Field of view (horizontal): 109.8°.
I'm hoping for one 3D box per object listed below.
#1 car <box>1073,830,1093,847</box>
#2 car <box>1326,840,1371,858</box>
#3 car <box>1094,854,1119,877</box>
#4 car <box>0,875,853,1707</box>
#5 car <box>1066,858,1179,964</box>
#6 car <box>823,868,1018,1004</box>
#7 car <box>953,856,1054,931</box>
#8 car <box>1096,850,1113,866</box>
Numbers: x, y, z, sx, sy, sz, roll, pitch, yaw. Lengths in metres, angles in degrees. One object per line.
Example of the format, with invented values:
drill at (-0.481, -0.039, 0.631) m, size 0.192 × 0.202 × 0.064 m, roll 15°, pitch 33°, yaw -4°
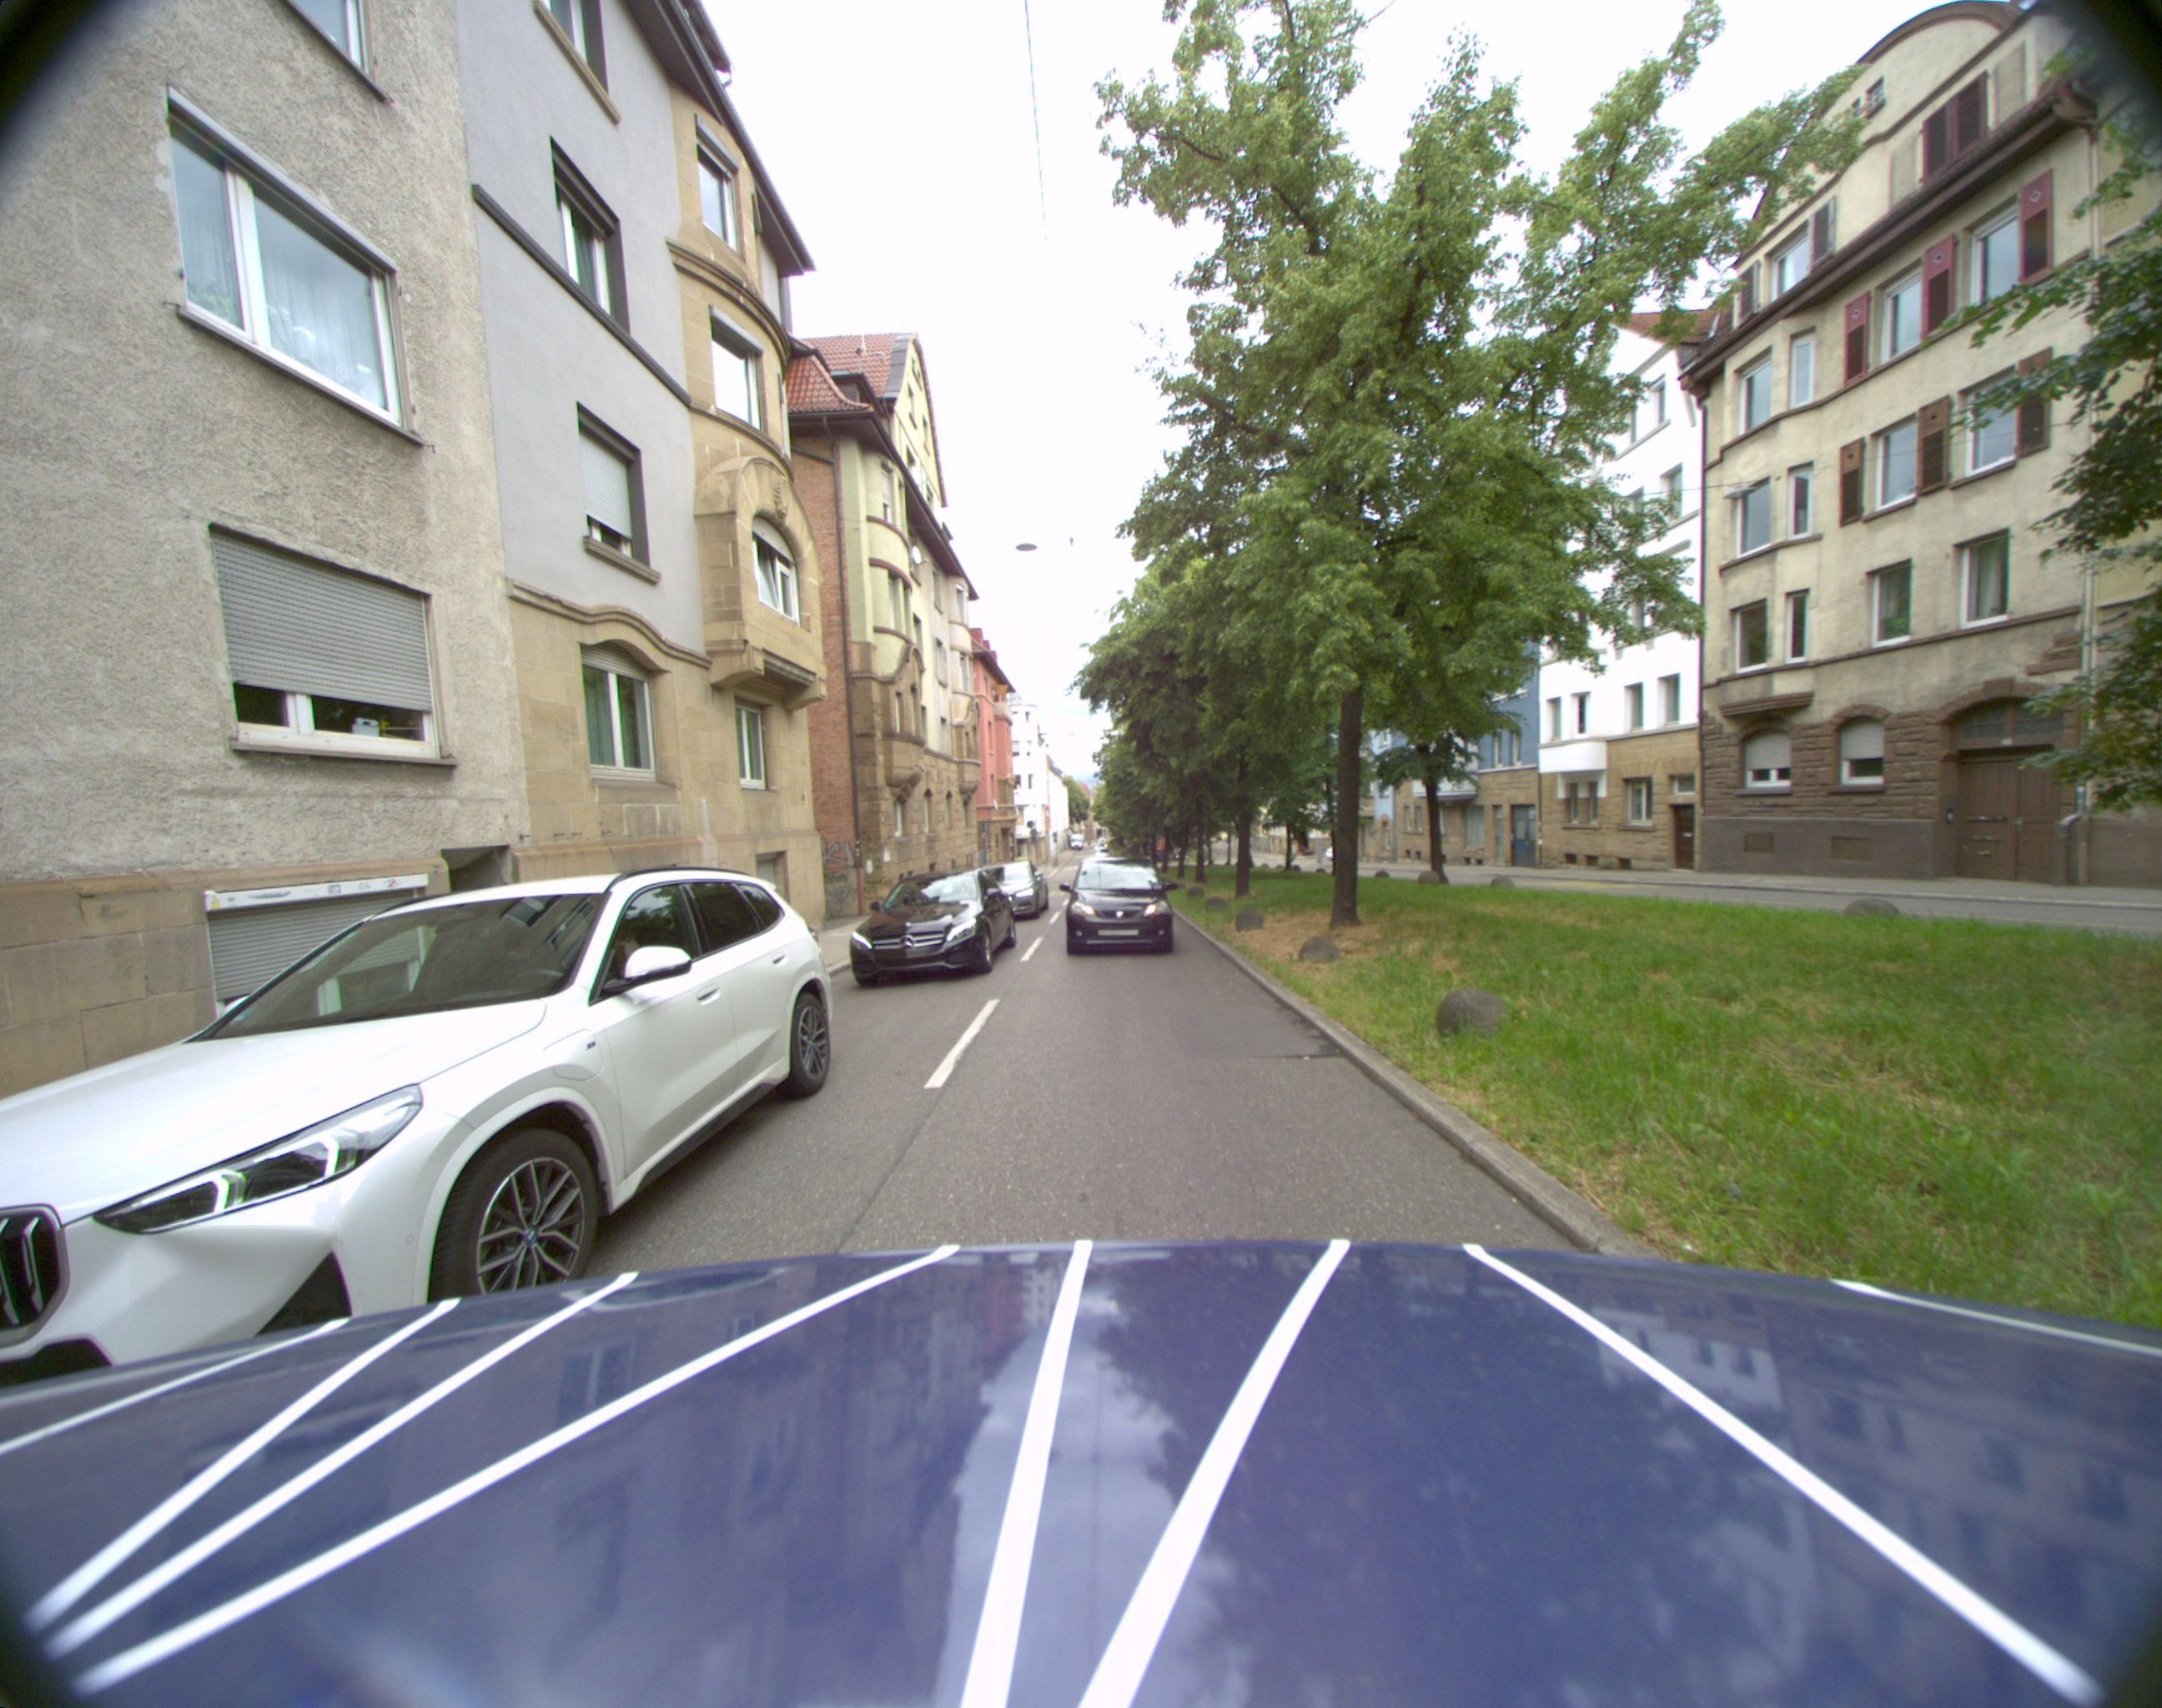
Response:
car at (0.426, -2.826, 138.353) m, size 2.715 × 2.879 × 6.456 m, roll -2°, pitch 1°, yaw 8°
car at (22.183, -0.406, 63.107) m, size 3.291 × 1.323 × 1.672 m, roll -2°, pitch 1°, yaw 10°
car at (1.752, 0.770, 53.212) m, size 1.664 × 1.456 × 3.580 m, roll -2°, pitch 1°, yaw 1°
car at (-2.792, 1.058, 3.739) m, size 1.859 × 1.547 × 4.350 m, roll -6°, pitch 1°, yaw 0°
car at (0.616, 0.830, 12.507) m, size 1.611 × 1.457 × 3.296 m, roll 0°, pitch 1°, yaw 1°
car at (-2.152, 1.059, 11.479) m, size 1.884 × 1.369 × 4.205 m, roll -6°, pitch 1°, yaw 1°
car at (-1.894, 0.941, 19.995) m, size 1.936 × 1.506 × 4.303 m, roll -6°, pitch 1°, yaw 2°
car at (2.345, 0.370, 77.411) m, size 1.607 × 1.492 × 3.737 m, roll -2°, pitch 1°, yaw 1°
